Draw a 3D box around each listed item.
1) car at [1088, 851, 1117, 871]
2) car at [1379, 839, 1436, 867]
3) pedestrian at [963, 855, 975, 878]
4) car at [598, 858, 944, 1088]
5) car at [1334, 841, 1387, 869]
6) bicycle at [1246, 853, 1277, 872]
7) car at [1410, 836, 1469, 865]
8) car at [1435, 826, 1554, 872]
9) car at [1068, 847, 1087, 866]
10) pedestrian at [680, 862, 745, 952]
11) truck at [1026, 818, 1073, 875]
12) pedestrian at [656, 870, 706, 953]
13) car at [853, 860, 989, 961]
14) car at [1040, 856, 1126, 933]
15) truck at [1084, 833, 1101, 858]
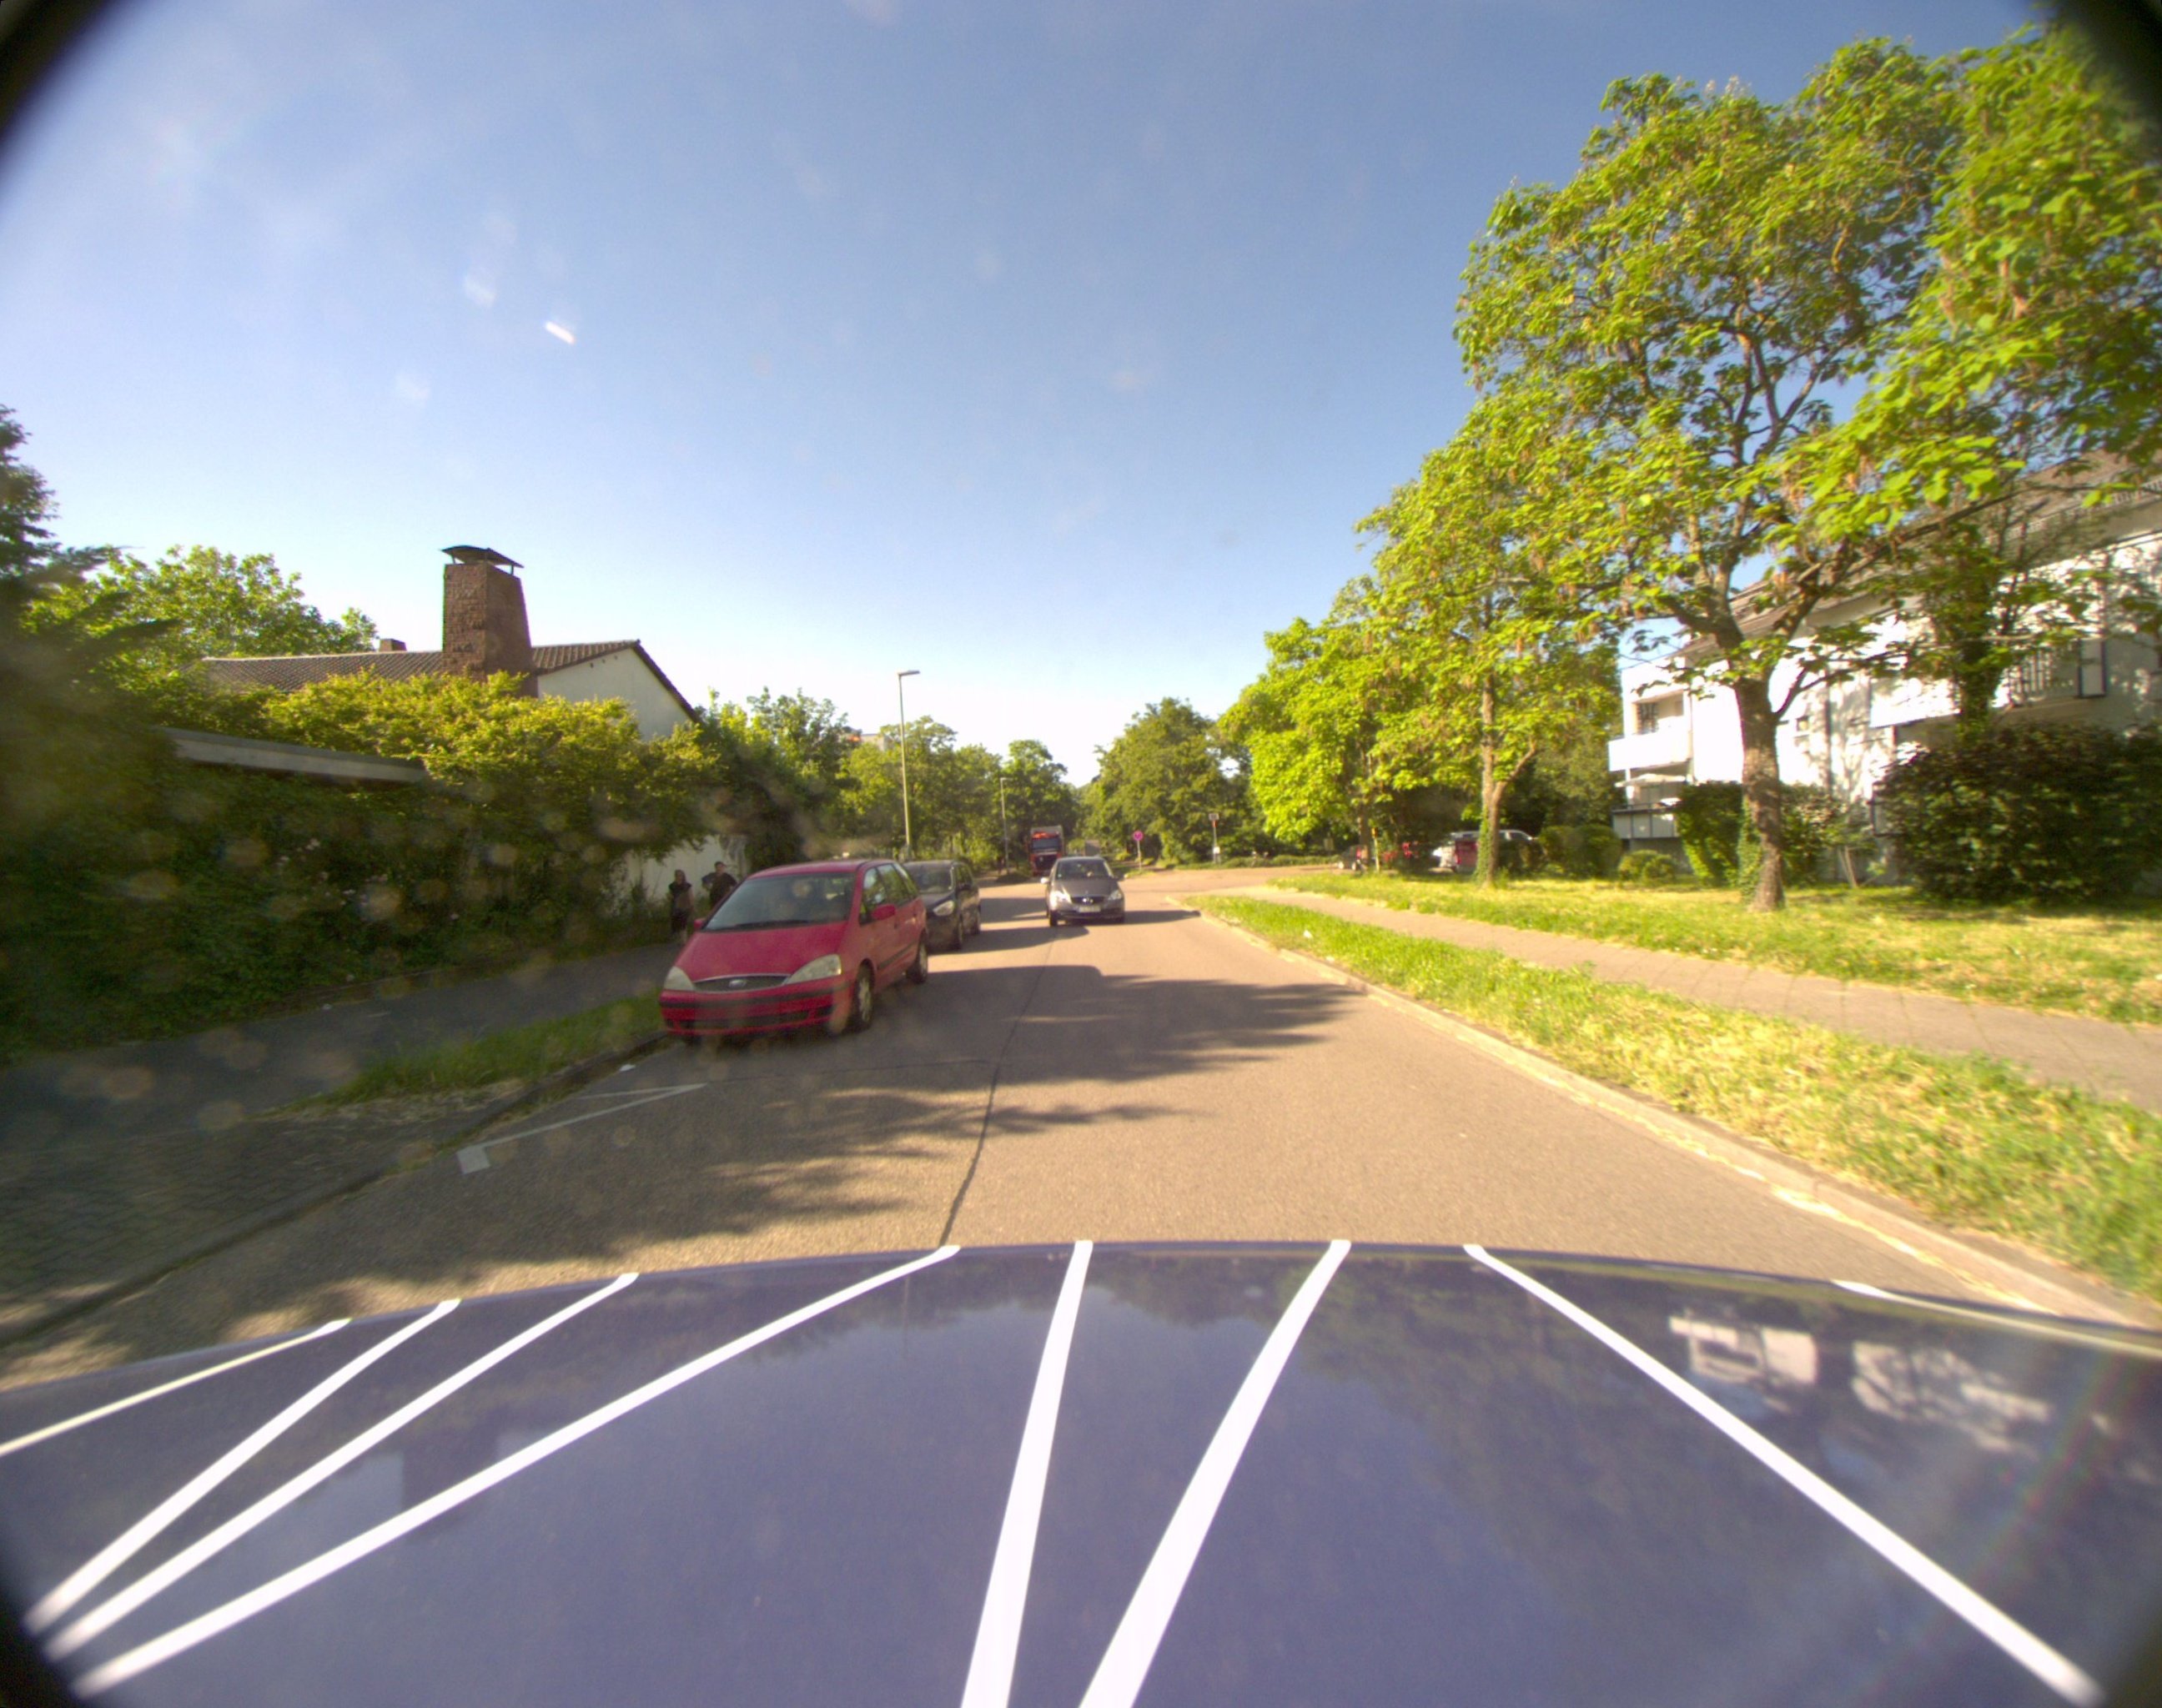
[{"bbox_3d":[1.784,0.571,63.974,1.667,1.458,4.184,-1,2,-9],"label":"car"},{"bbox_3d":[19.336,-0.098,45.166,1.674,1.479,3.884,-3,2,-1],"label":"car"},{"bbox_3d":[-8.134,0.907,55.091,0.641,1.629,0.641,-3,1,3],"label":"pedestrian"},{"bbox_3d":[-2.979,0.997,8.602,1.845,1.795,4.653,-3,0,1],"label":"car"},{"bbox_3d":[16.535,0.023,45.104,1.674,1.479,3.884,-3,2,-1],"label":"car"},{"bbox_3d":[11.896,0.561,50.026,1.903,1.146,0.760,-2,4,10],"label":"bicycle"},{"bbox_3d":[21.534,-0.234,45.778,1.674,1.594,3.884,-3,2,-1],"label":"car"},{"bbox_3d":[19.615,-0.205,36.171,4.461,1.957,2.069,-2,0,3],"label":"car"},{"bbox_3d":[-0.359,0.265,79.150,1.845,1.795,4.028,-3,1,-1],"label":"car"},{"bbox_3d":[-7.397,1.041,15.296,0.806,1.707,0.983,-1,2,-3],"label":"pedestrian"},{"bbox_3d":[-2.503,-0.620,64.122,3.166,4.320,10.582,-3,1,1],"label":"truck"},{"bbox_3d":[-8.140,1.151,15.490,0.574,1.600,0.792,-1,2,-3],"label":"pedestrian"},{"bbox_3d":[-3.026,0.992,15.297,1.729,1.647,4.352,-3,0,0],"label":"car"},{"bbox_3d":[0.050,0.903,18.945,1.855,1.635,3.755,-3,0,0],"label":"car"},{"bbox_3d":[1.900,-1.458,127.947,2.803,3.996,9.623,-1,2,1],"label":"truck"}]
